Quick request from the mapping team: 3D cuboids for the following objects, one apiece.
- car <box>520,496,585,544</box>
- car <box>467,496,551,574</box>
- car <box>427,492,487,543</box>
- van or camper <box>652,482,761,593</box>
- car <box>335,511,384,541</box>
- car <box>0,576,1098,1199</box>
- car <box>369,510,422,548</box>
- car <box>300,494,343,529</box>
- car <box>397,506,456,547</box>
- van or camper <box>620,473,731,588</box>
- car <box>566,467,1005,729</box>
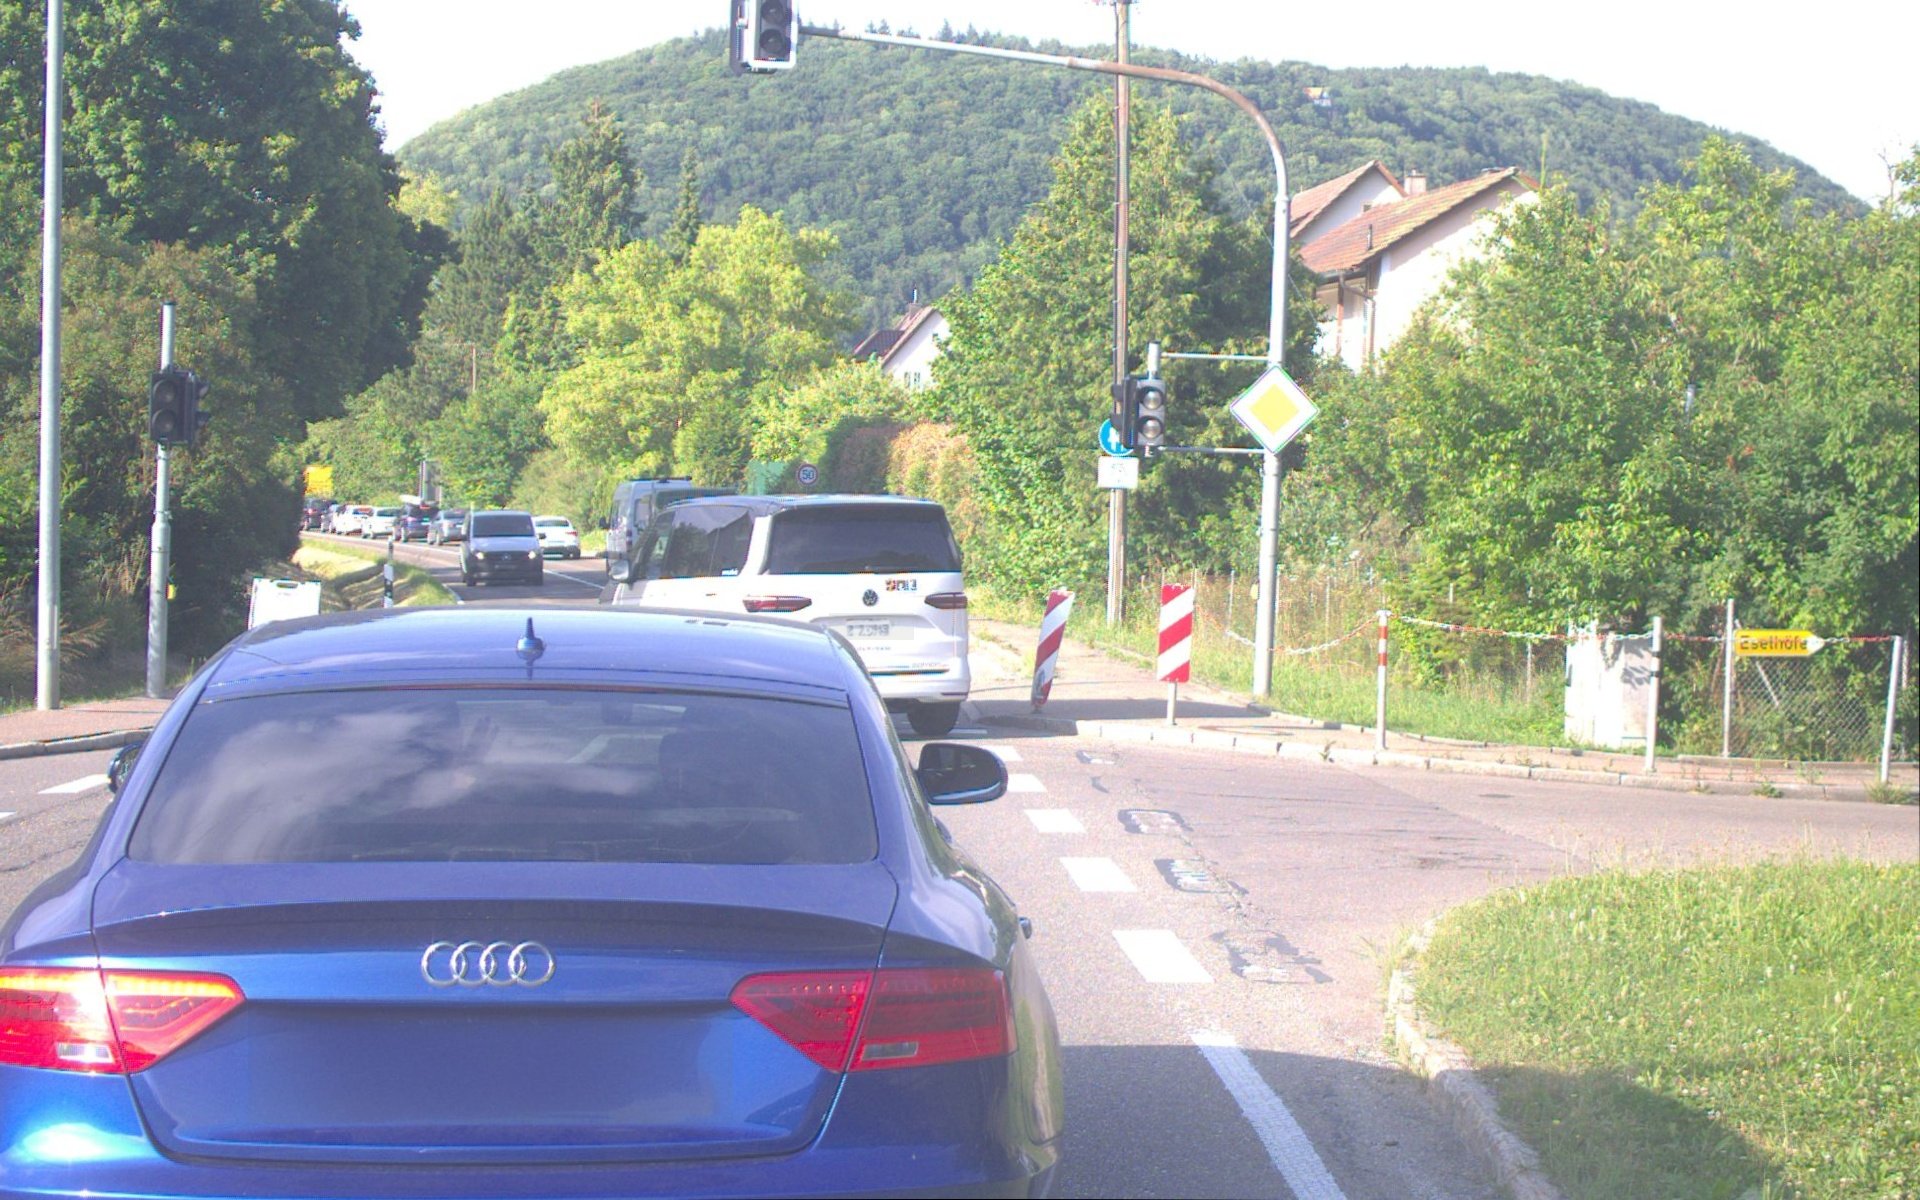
[{"bbox_3d":[-13.575,-2.661,114.347,1.819,1.546,4.001,0,1,-11],"label":"car"},{"bbox_3d":[-11.509,-1.680,87.491,1.993,1.897,5.255,-1,2,-9],"label":"car"},{"bbox_3d":[-20.357,-3.343,139.087,1.993,2.006,4.002,0,2,-15],"label":"car"},{"bbox_3d":[-5.663,-1.415,76.232,2.179,2.377,5.371,0,2,-6],"label":"van or camper"},{"bbox_3d":[-28.889,-3.554,165.231,1.941,1.419,4.001,0,2,-16],"label":"car"},{"bbox_3d":[-0.806,0.693,6.828,1.829,1.404,4.227,-1,1,-2],"label":"car"},{"bbox_3d":[-25.689,-3.236,156.429,1.941,1.678,4.001,-1,1,-16],"label":"car"},{"bbox_3d":[-32.992,-4.588,177.580,1.771,1.776,4.001,-1,1,-16],"label":"car"},{"bbox_3d":[-23.003,-3.185,148.067,2.040,1.678,4.002,0,2,-16],"label":"car"},{"bbox_3d":[-7.508,-1.846,90.091,2.414,2.894,6.133,0,2,-9],"label":"van or camper"},{"bbox_3d":[-1.552,-0.089,28.235,1.993,1.870,4.873,2,2,-23],"label":"car"}]
